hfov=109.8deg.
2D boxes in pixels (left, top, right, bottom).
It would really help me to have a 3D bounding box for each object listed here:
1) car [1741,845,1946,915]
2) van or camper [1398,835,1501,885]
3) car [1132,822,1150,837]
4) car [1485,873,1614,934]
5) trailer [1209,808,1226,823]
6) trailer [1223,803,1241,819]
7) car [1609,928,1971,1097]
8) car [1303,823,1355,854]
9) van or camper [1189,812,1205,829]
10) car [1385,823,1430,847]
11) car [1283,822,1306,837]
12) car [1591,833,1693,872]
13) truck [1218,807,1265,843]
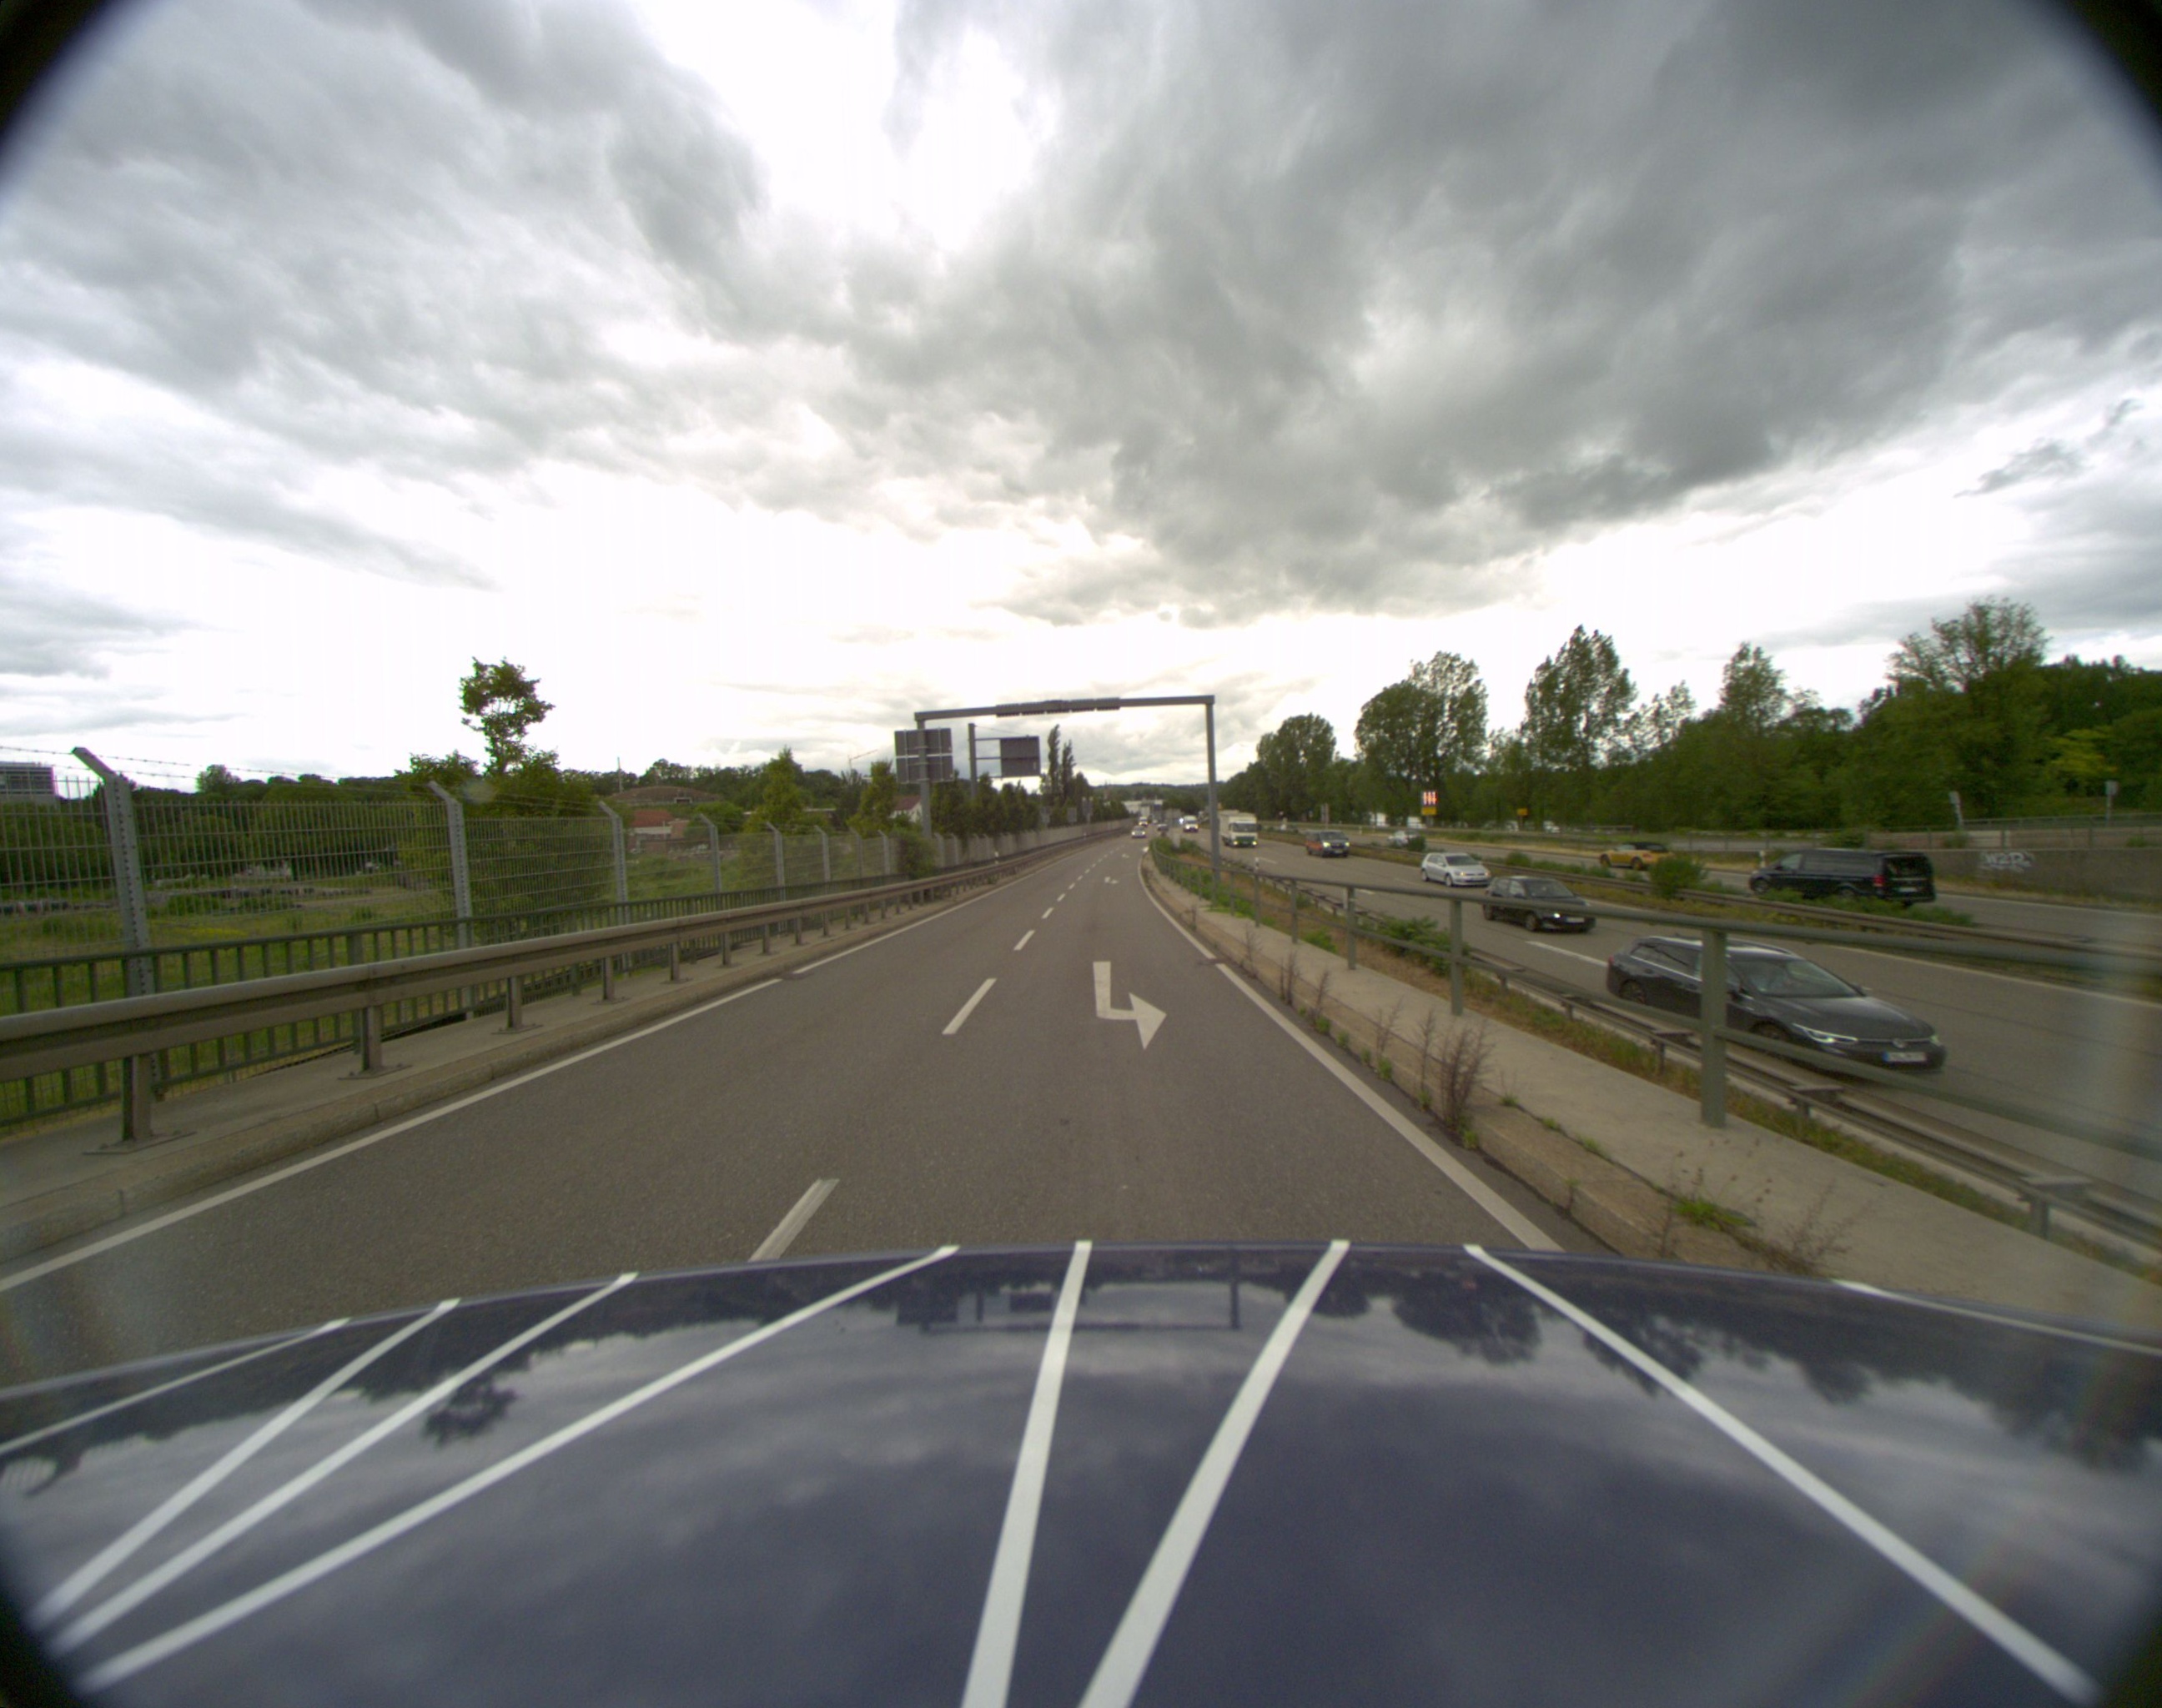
[{"bbox_3d":[26.321,0.804,26.592,2.097,1.978,5.113,-1,3,2],"label":"car"},{"bbox_3d":[17.434,0.193,36.380,1.887,1.859,6.343,-3,4,1],"label":"van or camper"},{"bbox_3d":[8.151,-3.323,102.724,1.997,2.002,4.002,-1,1,9],"label":"car"},{"bbox_3d":[14.041,1.436,23.032,1.728,1.320,3.645,-1,4,2],"label":"car"},{"bbox_3d":[44.545,-12.568,247.789,3.471,4.648,14.776,-2,3,3],"label":"trailer"},{"bbox_3d":[40.313,-11.567,202.760,2.796,3.928,13.507,-3,3,4],"label":"trailer"},{"bbox_3d":[10.310,2.177,11.641,1.939,1.493,4.305,0,3,9],"label":"car"},{"bbox_3d":[18.307,-1.223,56.373,2.099,2.003,5.335,-1,4,0],"label":"car"},{"bbox_3d":[19.033,-5.559,124.486,2.209,2.590,6.327,-2,4,6],"label":"van or camper"},{"bbox_3d":[28.310,-1.695,66.046,1.998,1.684,4.698,-1,7,1],"label":"car"},{"bbox_3d":[26.999,-3.125,96.180,1.998,1.719,3.999,-1,3,4],"label":"car"},{"bbox_3d":[30.196,-0.121,41.114,1.998,1.711,4.699,-1,5,0],"label":"car"},{"bbox_3d":[15.250,-2.868,72.879,3.039,3.142,7.563,-1,4,1],"label":"truck"}]
